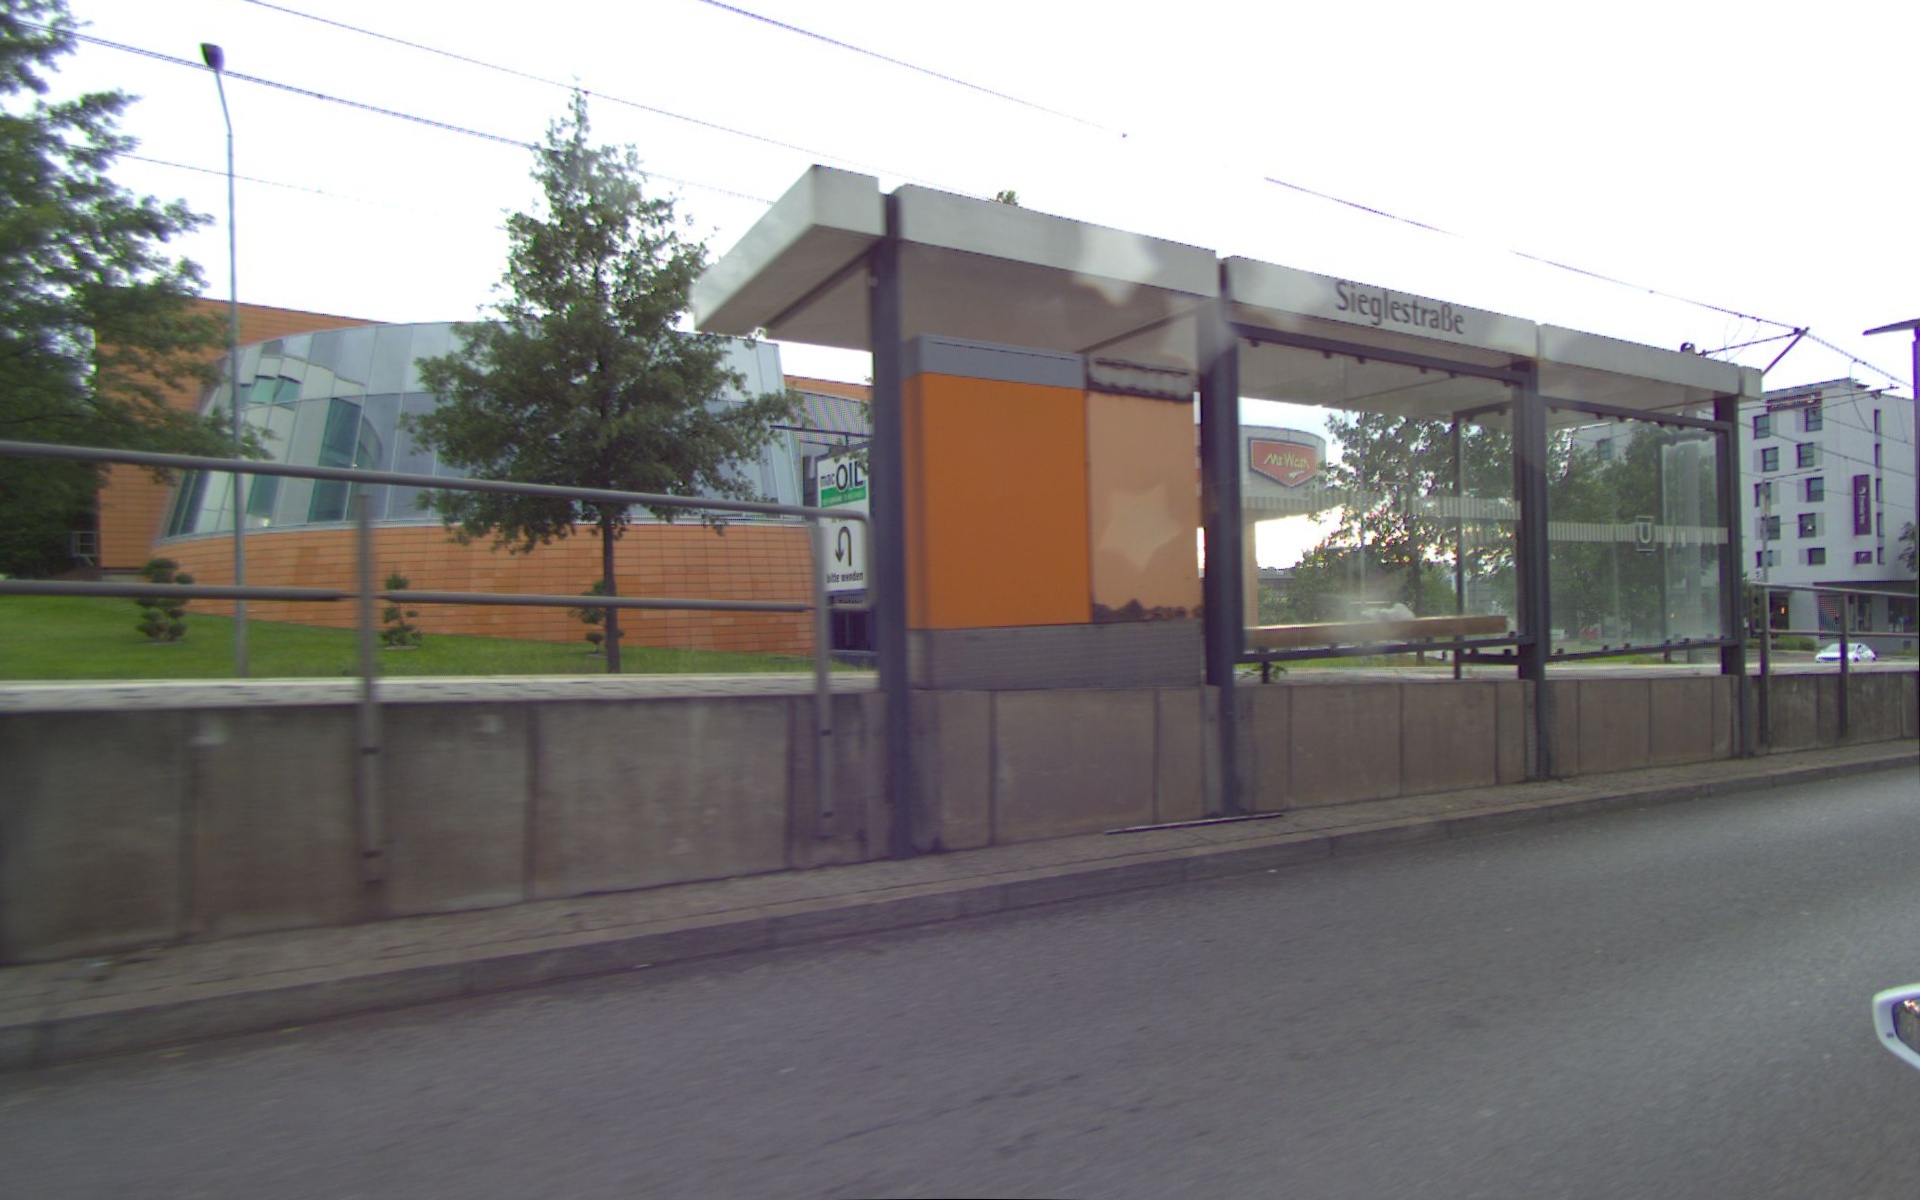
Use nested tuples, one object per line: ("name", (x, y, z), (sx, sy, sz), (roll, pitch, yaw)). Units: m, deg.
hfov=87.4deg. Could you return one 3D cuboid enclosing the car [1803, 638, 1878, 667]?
("car", (50.715, 3.023, 57.849), (4.655, 1.538, 1.982), (2, 0, -32))
